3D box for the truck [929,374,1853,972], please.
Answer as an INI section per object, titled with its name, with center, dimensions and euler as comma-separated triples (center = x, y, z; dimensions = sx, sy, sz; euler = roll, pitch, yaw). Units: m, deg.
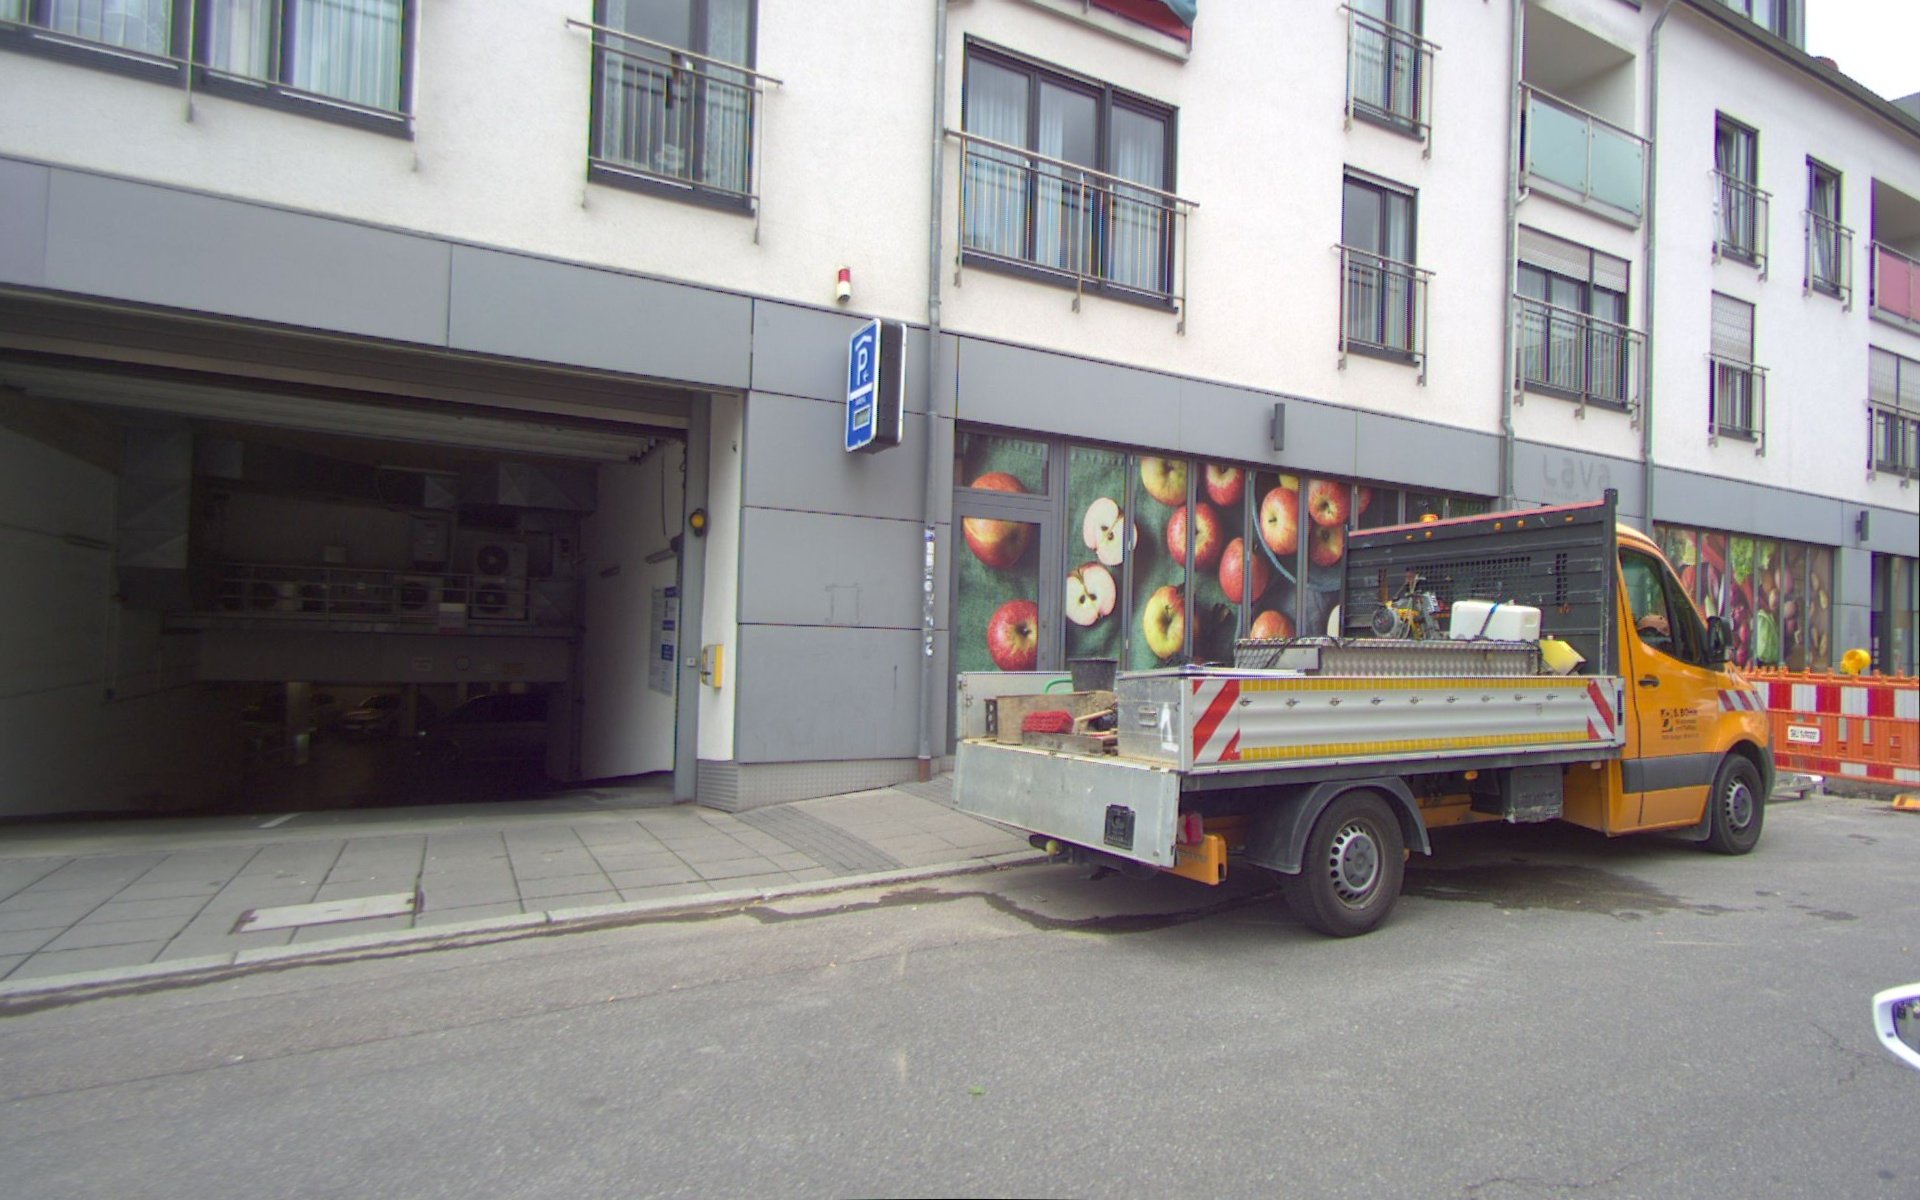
[truck]
center = 3.091, 0.380, 6.770
dimensions = 6.230, 2.498, 2.404
euler = 1, -2, -29
